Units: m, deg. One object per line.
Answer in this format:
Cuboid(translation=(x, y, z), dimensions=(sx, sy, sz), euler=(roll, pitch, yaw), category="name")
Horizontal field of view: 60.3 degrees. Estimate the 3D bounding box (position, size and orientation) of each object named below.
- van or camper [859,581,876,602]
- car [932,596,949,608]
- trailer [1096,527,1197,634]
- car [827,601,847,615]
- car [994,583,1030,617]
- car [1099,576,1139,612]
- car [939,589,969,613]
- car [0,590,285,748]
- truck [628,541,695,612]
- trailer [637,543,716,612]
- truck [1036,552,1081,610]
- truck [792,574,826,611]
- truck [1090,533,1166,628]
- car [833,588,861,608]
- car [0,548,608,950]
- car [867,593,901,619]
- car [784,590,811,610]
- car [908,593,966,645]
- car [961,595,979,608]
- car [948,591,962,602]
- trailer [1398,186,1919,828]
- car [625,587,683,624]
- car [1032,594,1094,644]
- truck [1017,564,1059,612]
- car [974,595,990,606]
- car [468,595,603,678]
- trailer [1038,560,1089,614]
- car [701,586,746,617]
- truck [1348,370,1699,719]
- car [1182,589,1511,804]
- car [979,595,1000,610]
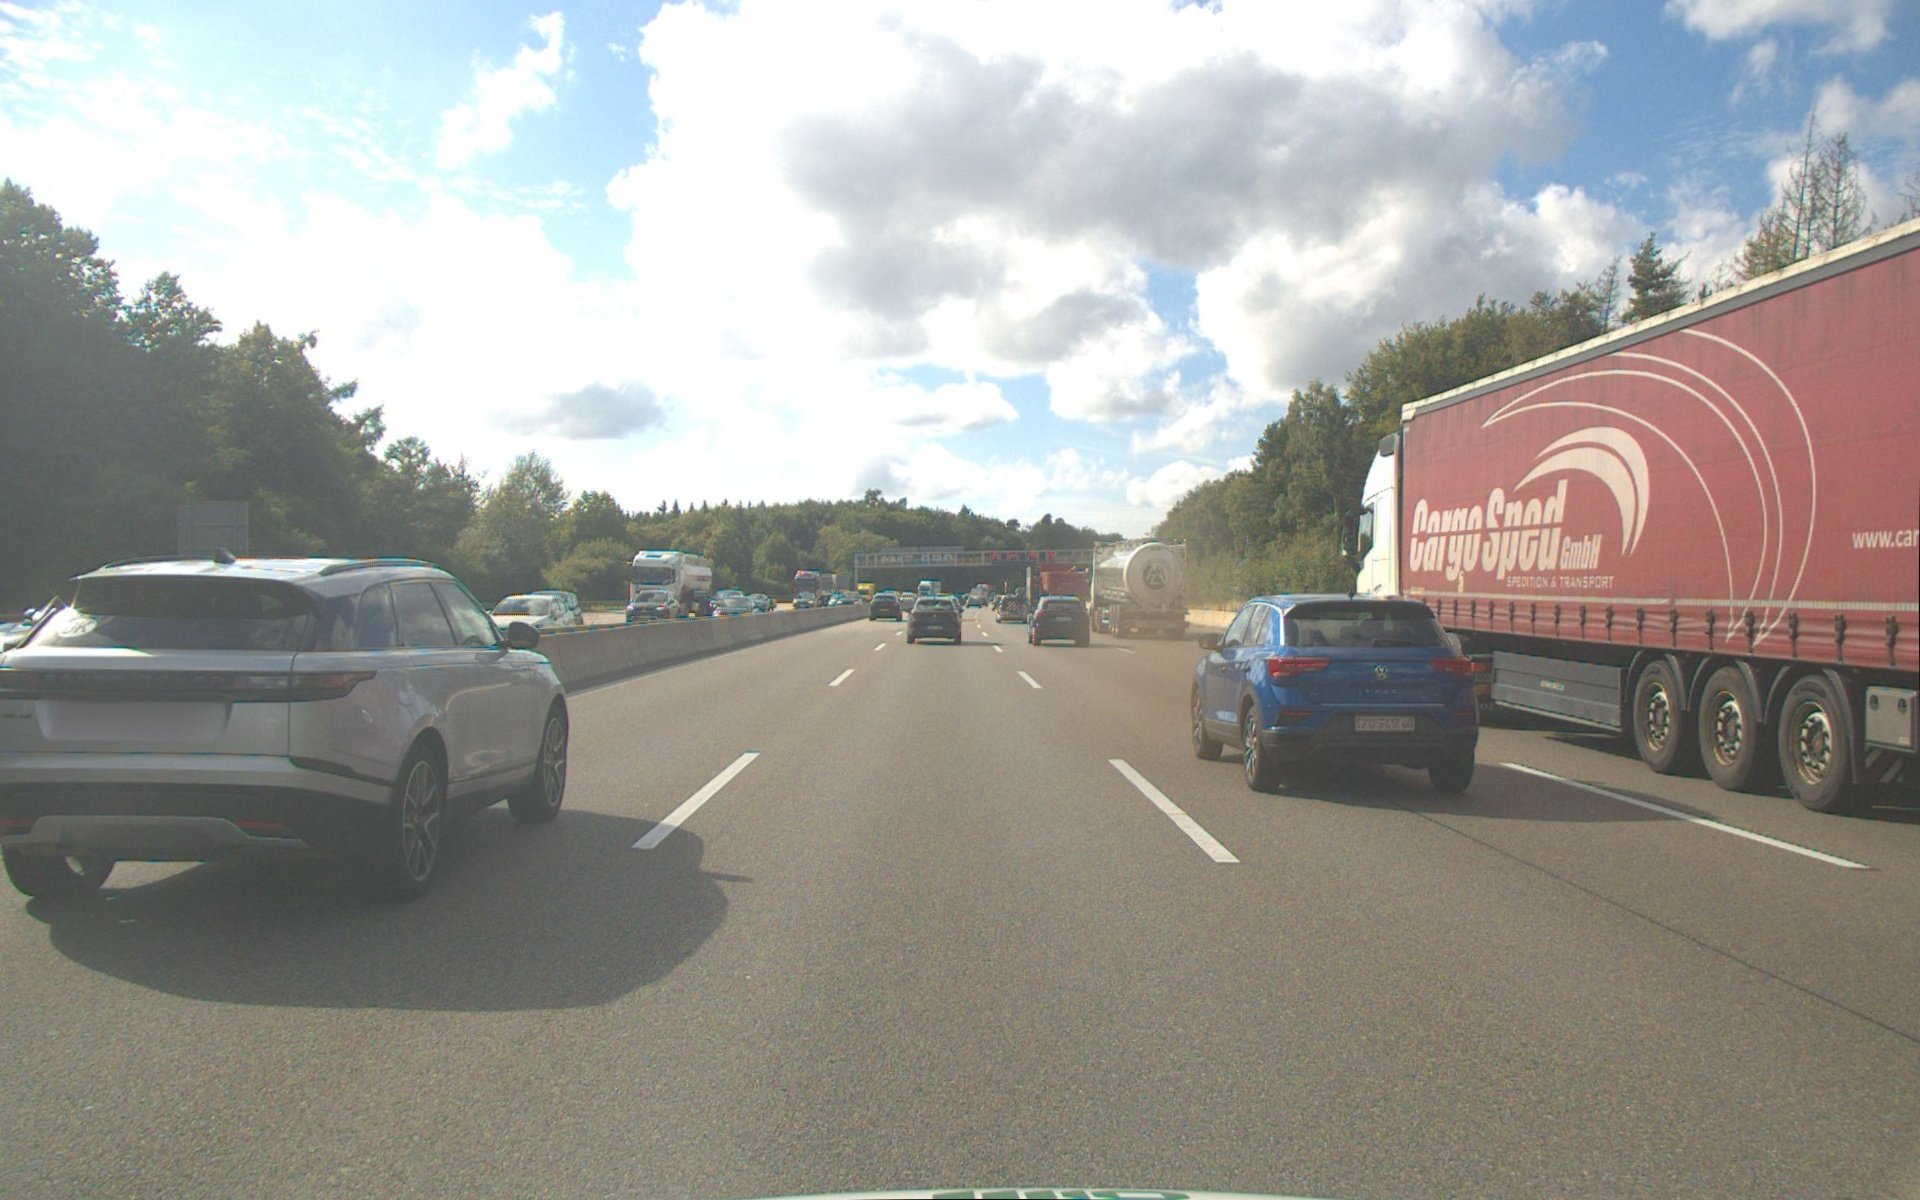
Cuboid(translation=(-13.334, -1.192, 237.865), dimensions=(2.326, 2.942, 6.502), euler=(-1, 0, -3), category="van or camper")
Cuboid(translation=(-2.477, 0.210, 207.526), dimensions=(2.034, 1.483, 4.000), euler=(-1, 0, 0), category="car")
Cuboid(translation=(7.165, -0.735, 65.239), dimensions=(2.595, 3.833, 11.859), euler=(0, 0, 0), category="trailer")
Cuboid(translation=(-12.924, 0.819, 173.597), dimensions=(1.570, 1.427, 4.001), euler=(3, 0, 2), category="car")
Cuboid(translation=(2.941, -0.027, 95.094), dimensions=(1.855, 1.889, 4.099), euler=(1, 0, -1), category="car")
Cuboid(translation=(9.133, -0.344, 95.238), dimensions=(1.855, 1.991, 4.100), euler=(1, 0, 0), category="car")
Cuboid(translation=(-0.337, 0.064, 104.338), dimensions=(1.785, 1.483, 4.001), euler=(-1, 0, 1), category="car")
Cuboid(translation=(-9.849, 0.729, 19.750), dimensions=(1.874, 1.669, 4.241), euler=(-1, 0, -1), category="car")
Cuboid(translation=(-17.544, -1.364, 97.476), dimensions=(2.730, 4.014, 6.445), euler=(0, 0, 0), category="truck")
Cuboid(translation=(-17.478, -1.339, 102.994), dimensions=(2.730, 4.014, 12.253), euler=(0, 0, 0), category="trailer")
Cuboid(translation=(6.616, -1.286, 111.348), dimensions=(2.654, 3.783, 5.818), euler=(1, 1, 0), category="truck")
Cuboid(translation=(-16.248, -0.769, 178.731), dimensions=(2.906, 3.925, 6.766), euler=(0, 0, 1), category="truck")
Cuboid(translation=(7.150, -0.801, 71.031), dimensions=(2.595, 3.890, 6.081), euler=(0, 0, 0), category="truck")
Cuboid(translation=(-9.932, -0.192, 145.496), dimensions=(2.111, 1.729, 5.350), euler=(-1, 0, -1), category="car")
Cuboid(translation=(-3.547, 0.598, 9.480), dimensions=(1.965, 1.644, 5.300), euler=(1, 0, -1), category="car")
Cuboid(translation=(-4.476, 0.328, 97.947), dimensions=(1.903, 1.483, 3.999), euler=(-1, 0, -1), category="car")
Cuboid(translation=(-14.139, -0.015, 143.932), dimensions=(1.953, 1.693, 4.686), euler=(-1, 0, -1), category="car")
Cuboid(translation=(-0.738, 0.570, 52.727), dimensions=(1.785, 1.573, 3.999), euler=(0, 0, -1), category="car")
Cuboid(translation=(1.239, 0.159, 202.743), dimensions=(2.035, 1.483, 3.999), euler=(-1, 0, -2), category="car")
Cuboid(translation=(-0.739, -0.478, 239.151), dimensions=(1.890, 1.483, 4.391), euler=(-1, 0, -2), category="car")
Cuboid(translation=(7.436, -0.621, 15.710), dimensions=(2.717, 4.116, 13.711), euler=(0, 0, -1), category="trailer")
Cuboid(translation=(-14.075, 0.228, 76.273), dimensions=(1.822, 1.648, 4.747), euler=(0, 0, -1), category="car")
Cuboid(translation=(3.222, 0.576, 52.104), dimensions=(1.784, 1.483, 4.001), euler=(-1, 0, 1), category="car")
Cuboid(translation=(6.731, -1.024, 144.539), dimensions=(3.055, 4.003, 10.409), euler=(-1, 0, -1), category="truck")
Cuboid(translation=(3.001, 0.039, 225.931), dimensions=(2.035, 1.483, 3.999), euler=(-1, 0, -2), category="car")
Cuboid(translation=(-10.501, 0.853, 41.356), dimensions=(2.127, 1.911, 4.980), euler=(-1, 0, -1), category="car")
Cuboid(translation=(6.601, -0.890, 106.716), dimensions=(2.654, 3.287, 9.733), euler=(1, 1, 0), category="trailer")
Cuboid(translation=(-13.483, 0.057, 94.430), dimensions=(1.817, 1.699, 5.210), euler=(-1, 1, 0), category="car")
Cuboid(translation=(7.351, -0.673, 22.473), dimensions=(2.717, 4.116, 5.772), euler=(0, 0, -1), category="truck")
Cuboid(translation=(3.113, 0.688, 14.269), dimensions=(1.737, 1.557, 4.457), euler=(0, 0, -1), category="car")
Cuboid(translation=(3.008, 0.224, 169.561), dimensions=(1.903, 1.483, 3.999), euler=(-1, 0, -2), category="car")
